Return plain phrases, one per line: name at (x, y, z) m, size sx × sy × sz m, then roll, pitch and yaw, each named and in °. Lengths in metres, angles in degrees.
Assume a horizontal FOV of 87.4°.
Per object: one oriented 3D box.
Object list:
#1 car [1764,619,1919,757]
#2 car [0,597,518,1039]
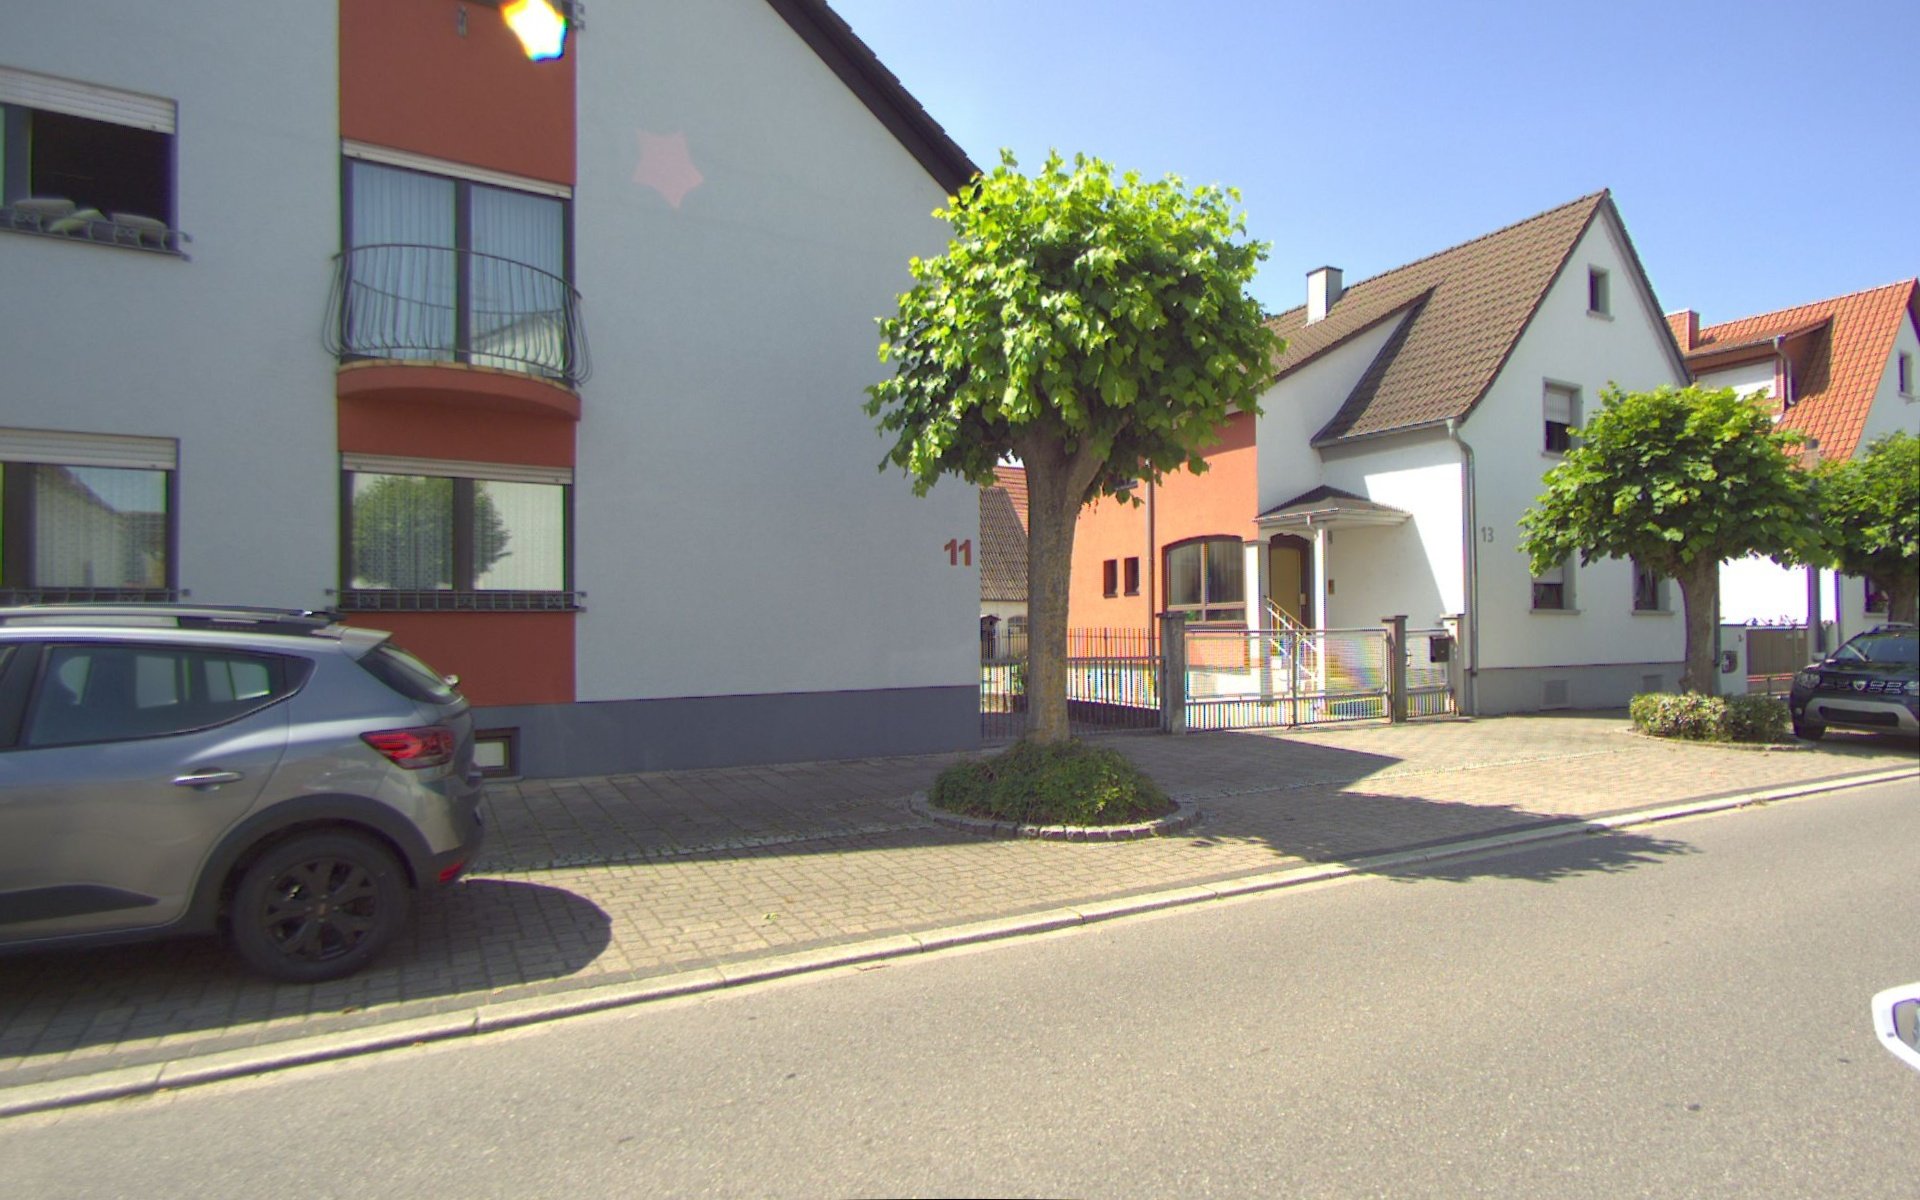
car at (13.485, 1.138, 14.257) m, size 4.248 × 1.658 × 1.844 m, roll 0°, pitch 0°, yaw -30°
car at (-4.234, 0.805, 4.400) m, size 4.083 × 1.634 × 1.845 m, roll 1°, pitch 0°, yaw -28°
